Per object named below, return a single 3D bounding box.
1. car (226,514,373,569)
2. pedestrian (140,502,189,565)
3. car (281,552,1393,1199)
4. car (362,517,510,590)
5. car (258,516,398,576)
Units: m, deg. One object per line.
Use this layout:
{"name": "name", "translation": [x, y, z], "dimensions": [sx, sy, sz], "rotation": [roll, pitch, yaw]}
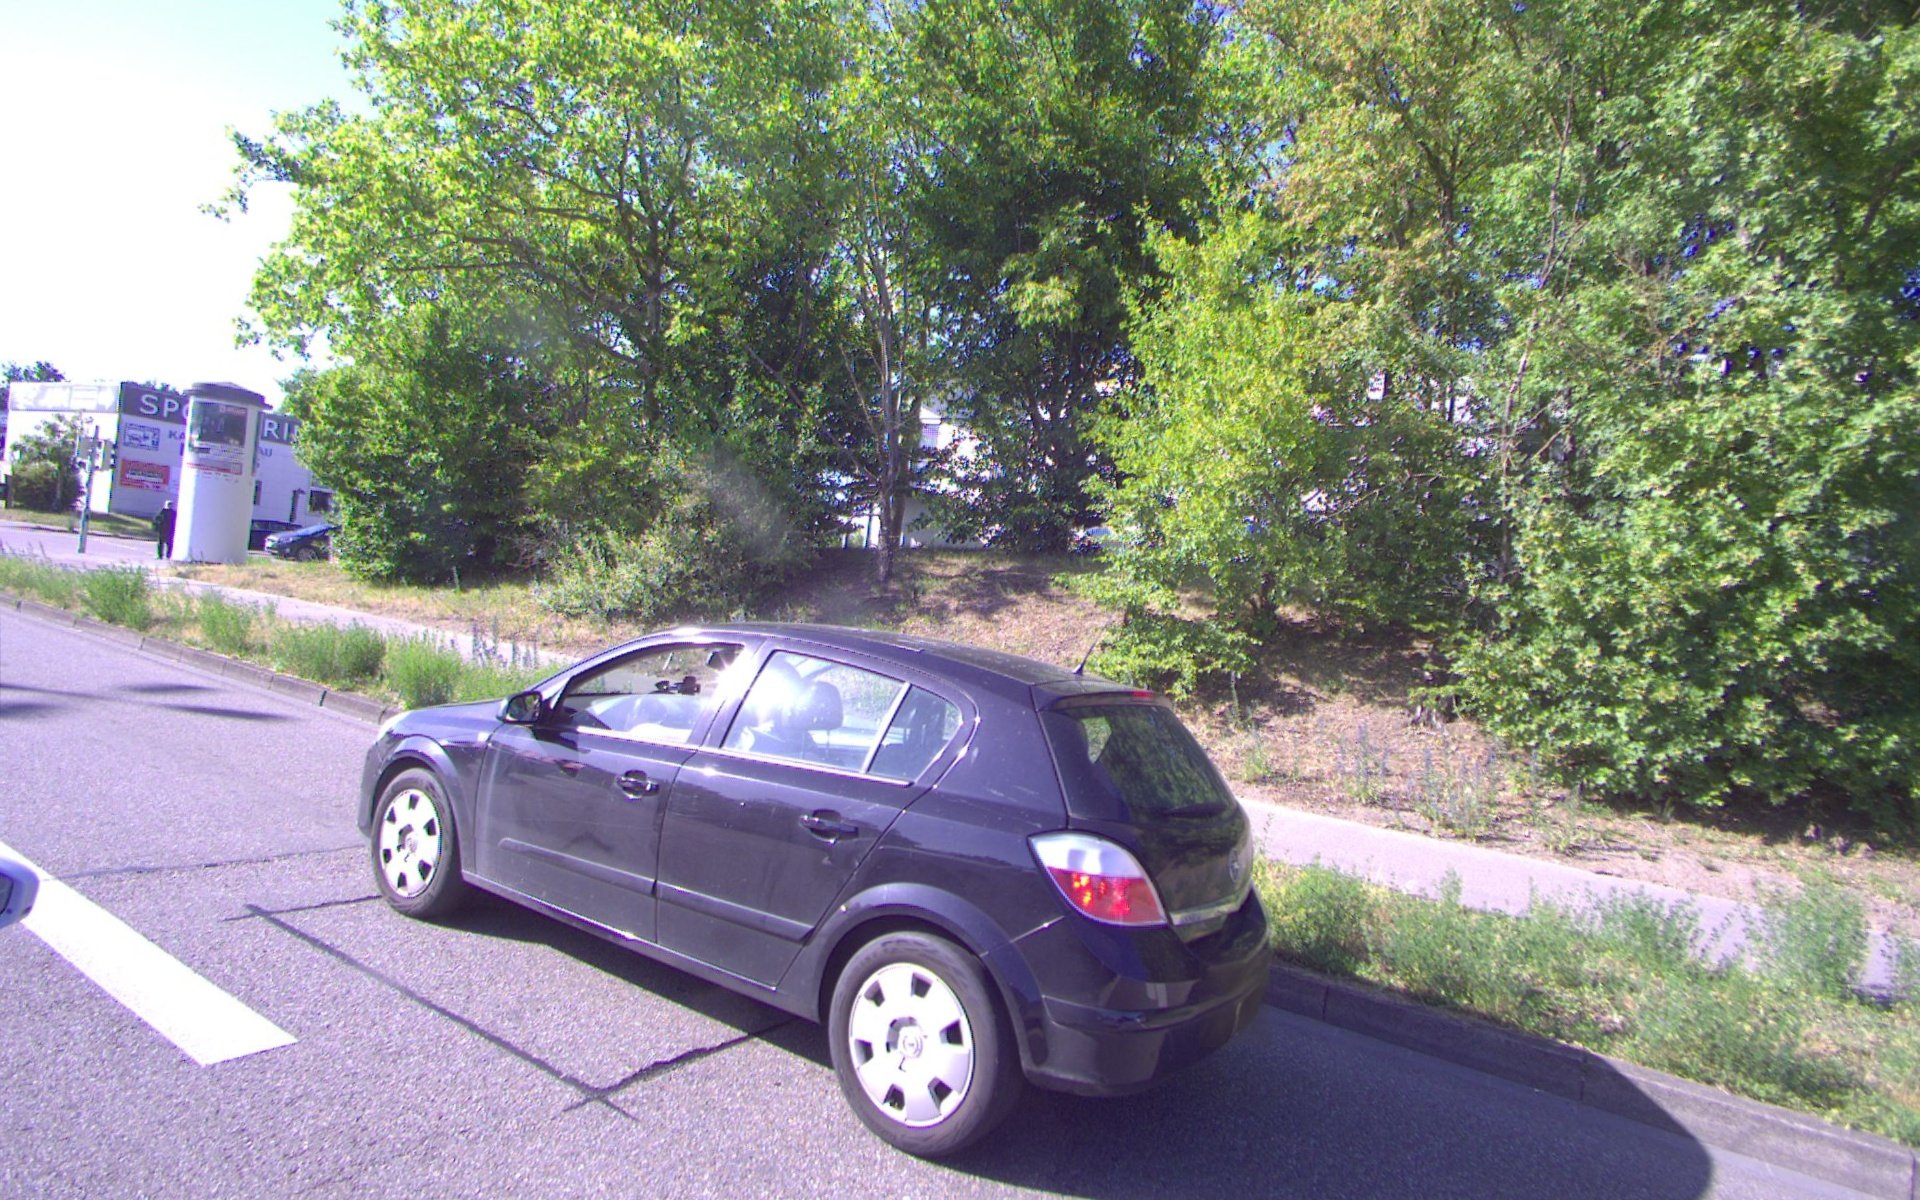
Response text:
{"name": "car", "translation": [-27.679, -2.408, 42.332], "dimensions": [1.729, 1.484, 4.831], "rotation": [6, -3, 30]}
{"name": "pedestrian", "translation": [-23.242, -1.945, 29.402], "dimensions": [0.506, 1.688, 0.818], "rotation": [6, -1, 31]}
{"name": "car", "translation": [-0.719, 0.805, 4.165], "dimensions": [4.299, 1.458, 1.737], "rotation": [7, -2, 32]}
{"name": "car", "translation": [-24.603, -2.126, 47.536], "dimensions": [1.967, 2.705, 5.840], "rotation": [6, 0, 32]}
{"name": "car", "translation": [-25.058, -2.117, 40.045], "dimensions": [1.611, 1.668, 4.316], "rotation": [6, -2, 31]}
